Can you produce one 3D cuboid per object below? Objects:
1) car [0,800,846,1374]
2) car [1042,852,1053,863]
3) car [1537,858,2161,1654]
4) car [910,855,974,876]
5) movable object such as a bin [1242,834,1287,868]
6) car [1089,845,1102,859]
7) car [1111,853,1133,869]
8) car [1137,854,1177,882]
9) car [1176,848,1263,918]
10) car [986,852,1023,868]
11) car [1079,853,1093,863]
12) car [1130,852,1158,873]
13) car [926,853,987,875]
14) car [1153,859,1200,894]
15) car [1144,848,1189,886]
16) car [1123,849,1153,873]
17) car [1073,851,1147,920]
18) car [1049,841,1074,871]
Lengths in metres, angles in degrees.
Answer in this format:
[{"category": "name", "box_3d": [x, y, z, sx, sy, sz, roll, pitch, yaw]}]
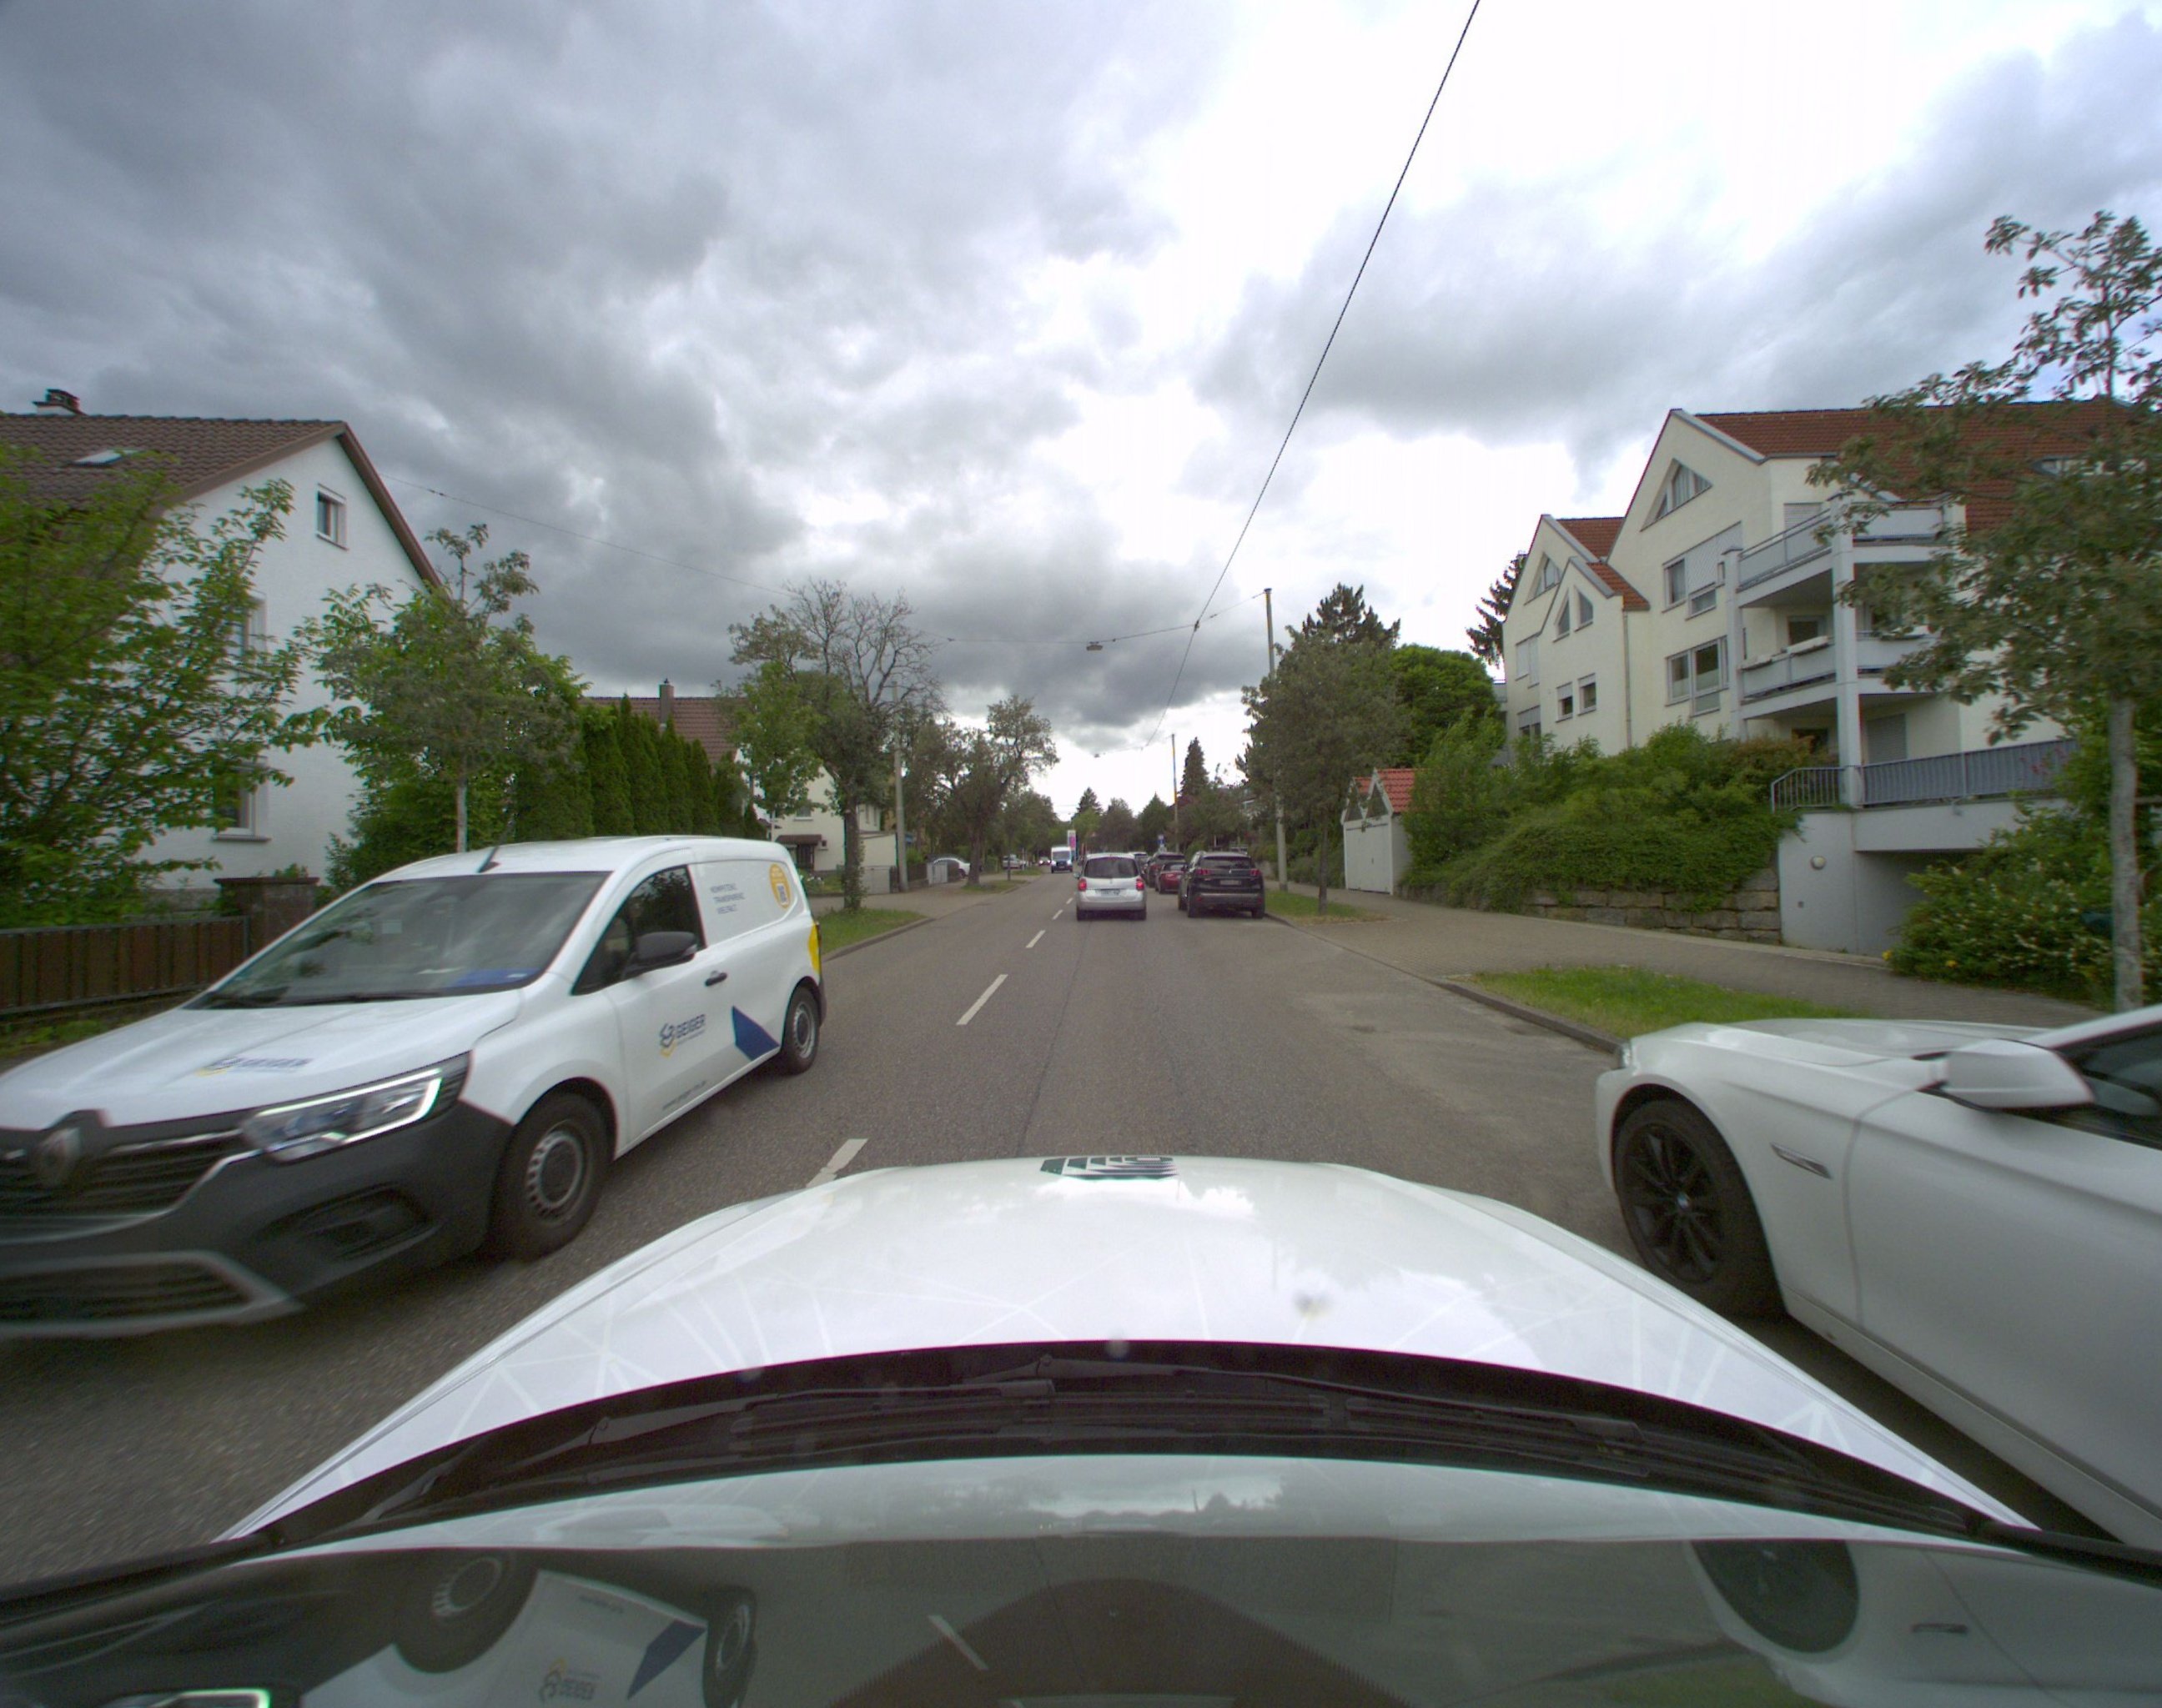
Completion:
[{"category": "car", "box_3d": [-2.970, 0.734, 4.699, 1.788, 1.752, 4.300, -2, 0, 2]}, {"category": "car", "box_3d": [-5.492, 0.533, 133.471, 1.831, 1.713, 3.996, -3, 0, -3]}, {"category": "car", "box_3d": [2.848, 0.759, 1.481, 1.687, 1.453, 4.406, 0, 0, 2]}, {"category": "car", "box_3d": [-9.615, 0.777, 56.611, 4.272, 1.368, 1.813, 1, -1, -6]}, {"category": "movable object such as a bin", "box_3d": [10.839, -0.172, 48.172, 2.306, 2.014, 1.341, 0, -1, -4]}, {"category": "car", "box_3d": [3.082, -0.408, 170.188, 2.277, 2.911, 5.271, 0, 0, -4]}, {"category": "car", "box_3d": [3.925, 0.647, 78.549, 1.623, 1.452, 3.871, -1, 0, -3]}, {"category": "car", "box_3d": [4.065, 0.729, 44.206, 1.824, 1.457, 4.550, 0, 0, 0]}, {"category": "car", "box_3d": [3.477, 0.681, 21.083, 1.681, 1.609, 4.110, 0, 0, 2]}, {"category": "car", "box_3d": [-8.866, 0.711, 94.130, 4.075, 1.706, 1.746, -1, 0, -2]}, {"category": "car", "box_3d": [0.762, 0.619, 124.310, 1.694, 1.506, 3.963, -1, 0, -7]}, {"category": "car", "box_3d": [4.457, 0.577, 57.977, 1.554, 1.443, 3.503, 0, 0, -3]}, {"category": "car", "box_3d": [-9.499, 0.777, 62.530, 4.317, 1.618, 1.974, 0, -1, 1]}, {"category": "car", "box_3d": [3.773, 0.860, 32.674, 1.476, 1.236, 3.885, 1, 0, 1]}, {"category": "car", "box_3d": [4.085, 0.598, 39.455, 1.823, 1.712, 4.551, 0, 0, 2]}, {"category": "car", "box_3d": [4.403, 0.545, 63.168, 1.795, 1.778, 4.700, 0, 0, -3]}, {"category": "car", "box_3d": [0.739, 0.702, 20.276, 1.673, 1.560, 3.513, 0, 0, 2]}, {"category": "car", "box_3d": [-1.801, 0.216, 76.578, 2.066, 2.582, 5.300, -3, 0, 0]}]
